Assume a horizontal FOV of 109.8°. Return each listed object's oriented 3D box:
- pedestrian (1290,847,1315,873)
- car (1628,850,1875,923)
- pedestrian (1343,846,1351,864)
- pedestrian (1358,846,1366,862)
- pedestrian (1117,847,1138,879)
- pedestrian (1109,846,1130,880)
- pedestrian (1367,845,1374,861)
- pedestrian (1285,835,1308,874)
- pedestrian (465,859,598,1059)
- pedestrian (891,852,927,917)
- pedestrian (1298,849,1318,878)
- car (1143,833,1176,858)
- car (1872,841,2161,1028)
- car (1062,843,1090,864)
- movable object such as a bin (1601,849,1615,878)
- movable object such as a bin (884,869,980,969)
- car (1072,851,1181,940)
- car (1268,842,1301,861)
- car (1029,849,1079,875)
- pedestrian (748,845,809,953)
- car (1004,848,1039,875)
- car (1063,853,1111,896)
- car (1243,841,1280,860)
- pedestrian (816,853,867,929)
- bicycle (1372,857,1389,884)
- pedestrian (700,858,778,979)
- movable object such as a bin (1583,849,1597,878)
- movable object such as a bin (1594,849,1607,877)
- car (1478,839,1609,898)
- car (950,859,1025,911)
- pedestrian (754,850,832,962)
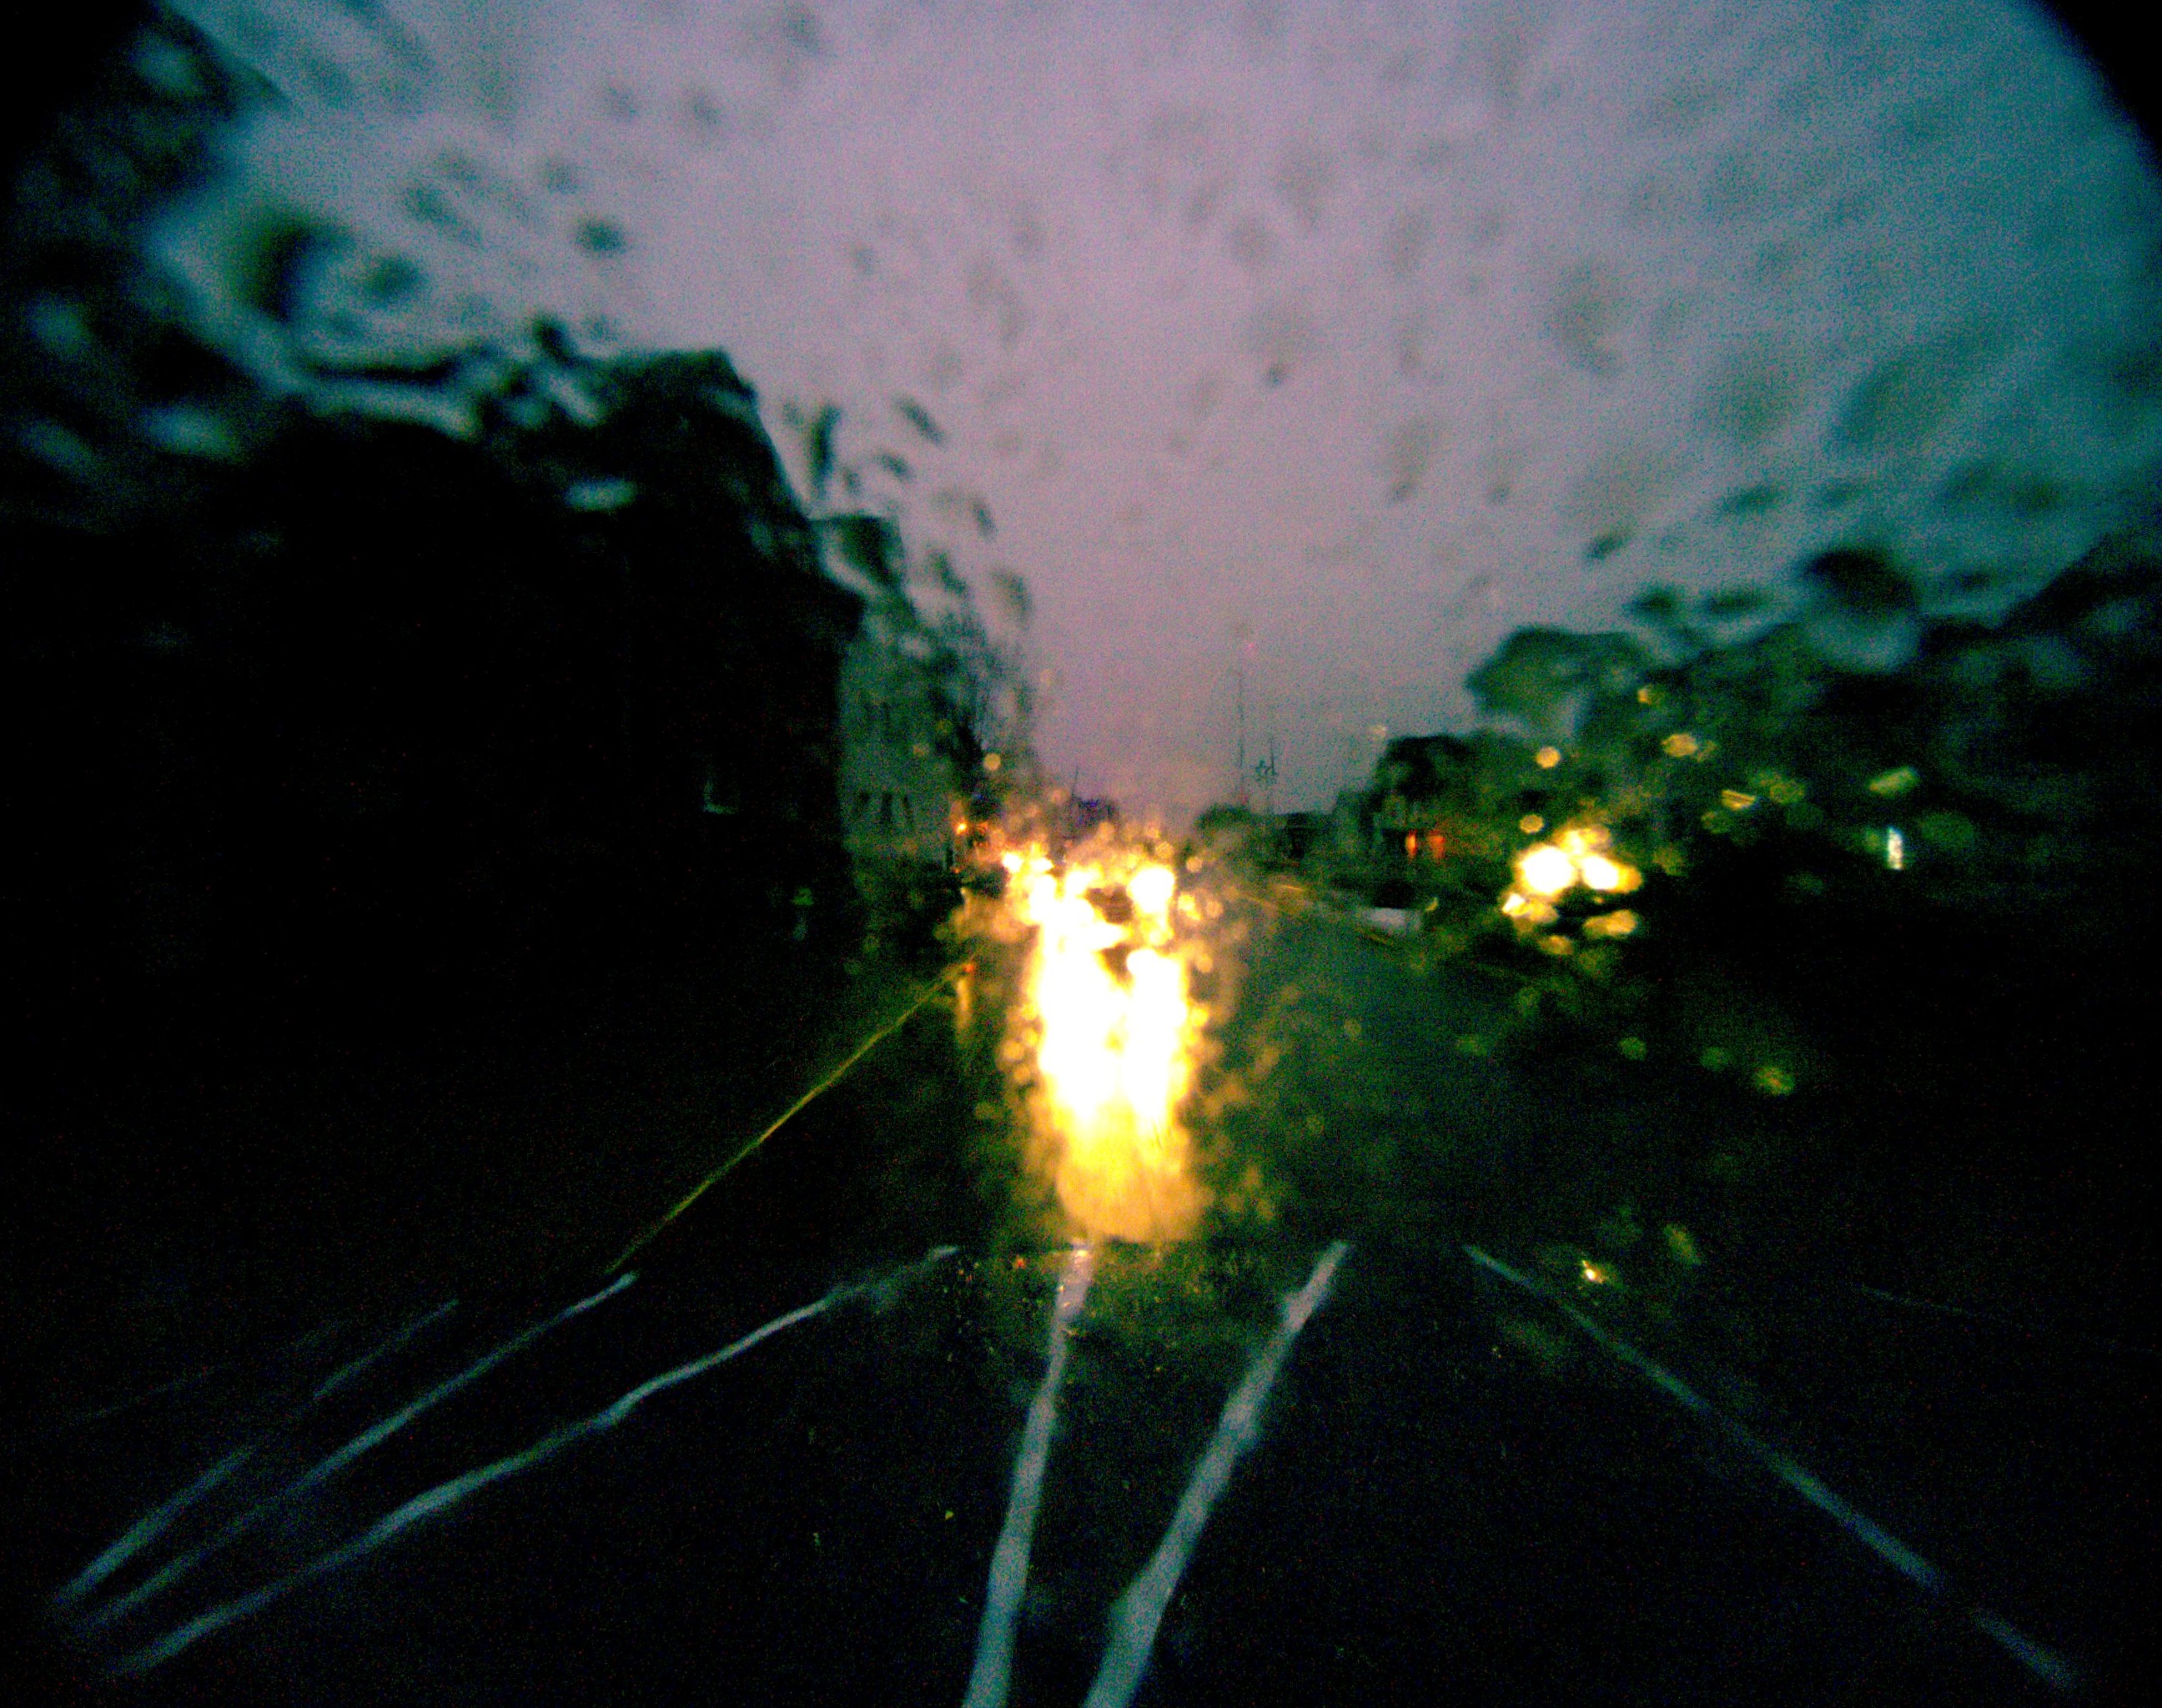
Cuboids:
[{"bbox_3d":[10.296,0.300,35.385,0.990,1.151,0.903,-2,-1,9],"label":"pedestrian"},{"bbox_3d":[15.117,0.664,17.569,1.806,1.474,4.572,0,0,2],"label":"car"},{"bbox_3d":[25.532,0.098,72.867,0.582,1.602,0.500,-2,3,4],"label":"pedestrian"},{"bbox_3d":[28.668,-0.018,77.467,0.582,1.602,0.500,-2,3,4],"label":"pedestrian"},{"bbox_3d":[2.636,0.508,43.184,0.789,1.752,0.769,0,4,43],"label":"pedestrian"},{"bbox_3d":[2.156,0.510,42.545,0.789,1.856,0.711,0,4,43],"label":"pedestrian"},{"bbox_3d":[29.597,-0.066,77.718,0.582,1.602,0.500,-2,3,4],"label":"pedestrian"},{"bbox_3d":[9.743,0.028,34.350,0.750,1.732,0.687,-3,1,0],"label":"pedestrian"},{"bbox_3d":[-4.802,0.864,6.705,0.620,1.617,0.905,-1,0,-13],"label":"pedestrian"},{"bbox_3d":[-4.577,0.809,20.297,0.530,1.644,0.954,-2,3,10],"label":"pedestrian"},{"bbox_3d":[10.022,0.407,33.552,0.687,1.264,0.750,-2,0,4],"label":"pedestrian"},{"bbox_3d":[7.150,-0.751,68.455,2.055,1.976,4.540,-2,3,17],"label":"car"},{"bbox_3d":[9.530,0.597,6.691,3.453,1.364,1.601,-2,0,-1],"label":"car"},{"bbox_3d":[-0.442,-0.073,62.641,2.172,1.469,3.998,-3,3,0],"label":"car"},{"bbox_3d":[21.509,0.380,31.004,0.288,1.136,0.453,-2,3,5],"label":"movable object such as a bin"},{"bbox_3d":[-2.281,0.966,11.834,1.131,1.412,1.417,2,0,2],"label":"movable object such as a bin"},{"bbox_3d":[0.848,0.791,16.540,1.958,1.576,4.108,-2,1,-2],"label":"car"},{"bbox_3d":[23.387,-0.300,87.426,1.926,2.003,3.966,-3,3,-14],"label":"car"},{"bbox_3d":[-1.881,0.495,50.732,2.030,1.471,4.549,-4,3,-19],"label":"car"},{"bbox_3d":[-5.196,0.745,13.078,0.530,1.790,0.865,-2,1,10],"label":"pedestrian"},{"bbox_3d":[-4.442,0.491,56.431,1.827,1.736,3.993,-3,3,-15],"label":"car"},{"bbox_3d":[0.328,0.816,31.765,1.762,1.471,4.019,-2,2,3],"label":"car"},{"bbox_3d":[20.643,-0.383,87.077,1.974,1.984,3.990,-4,3,-26],"label":"car"},{"bbox_3d":[-5.426,0.804,17.248,0.748,1.669,1.052,0,0,6],"label":"pedestrian"},{"bbox_3d":[11.959,0.634,30.372,0.470,1.004,1.741,-1,1,16],"label":"bicycle"},{"bbox_3d":[-4.804,0.865,10.731,0.480,1.621,1.020,0,0,14],"label":"pedestrian"},{"bbox_3d":[21.657,0.405,32.327,0.288,1.203,0.453,-2,3,5],"label":"movable object such as a bin"},{"bbox_3d":[21.599,0.366,31.593,0.288,1.114,0.453,-2,3,5],"label":"movable object such as a bin"},{"bbox_3d":[14.719,0.413,24.508,1.758,1.691,4.566,1,0,6],"label":"car"},{"bbox_3d":[-2.916,0.921,24.468,1.732,1.456,4.199,2,0,2],"label":"car"},{"bbox_3d":[-4.612,0.797,12.230,0.713,1.705,1.035,0,0,13],"label":"pedestrian"}]
